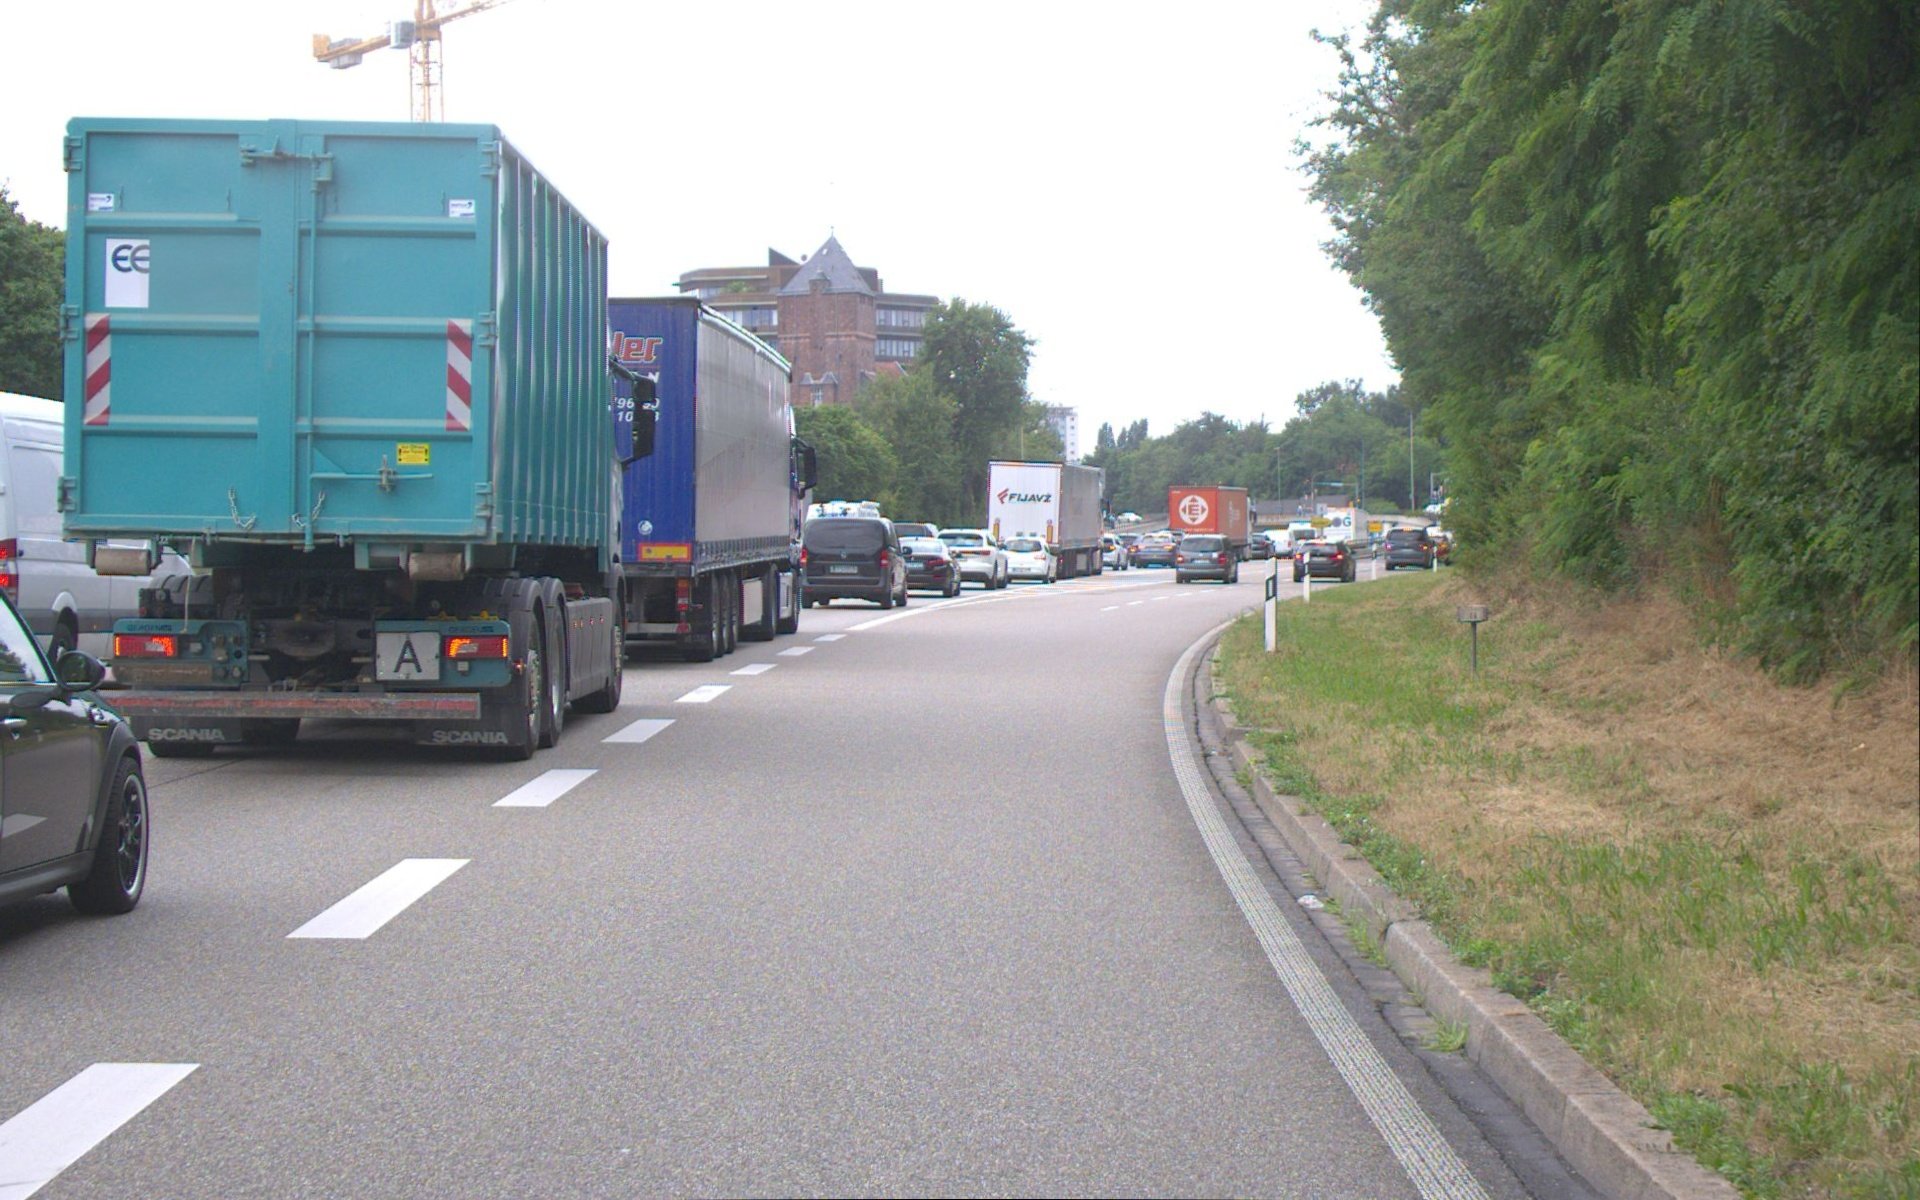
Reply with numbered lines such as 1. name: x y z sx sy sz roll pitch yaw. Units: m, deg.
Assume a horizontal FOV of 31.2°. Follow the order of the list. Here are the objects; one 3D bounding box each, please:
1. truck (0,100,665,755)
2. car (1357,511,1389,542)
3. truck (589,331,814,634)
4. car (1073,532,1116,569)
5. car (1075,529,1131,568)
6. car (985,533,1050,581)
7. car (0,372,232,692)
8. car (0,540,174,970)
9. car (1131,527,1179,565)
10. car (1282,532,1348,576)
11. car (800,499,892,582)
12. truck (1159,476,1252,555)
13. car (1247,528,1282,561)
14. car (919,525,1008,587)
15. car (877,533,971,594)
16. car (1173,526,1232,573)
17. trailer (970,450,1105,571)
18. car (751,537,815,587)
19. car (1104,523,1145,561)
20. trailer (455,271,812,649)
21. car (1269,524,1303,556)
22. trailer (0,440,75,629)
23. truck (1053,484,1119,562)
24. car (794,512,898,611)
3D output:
1. truck: -4.147 -1.121 25.687 2.929 3.783 11.331 -1 1 0
2. car: 26.941 -4.793 224.142 1.951 2.007 3.999 0 1 8
3. truck: -3.624 -1.624 49.582 2.561 4.029 6.589 1 1 1
4. car: 5.692 -2.110 145.070 1.531 1.546 3.418 0 1 7
5. car: 6.045 -2.150 144.978 1.800 1.598 4.256 1 1 9
6. car: 1.850 -1.367 108.844 1.764 1.473 4.088 -1 1 5
7. car: -8.501 -0.605 31.018 2.222 2.569 6.798 1 1 1
8. car: -4.054 0.503 12.076 1.747 1.417 3.664 0 1 0
9. car: 8.872 -2.451 156.057 1.718 1.678 3.998 1 1 9
10. car: 12.062 -1.574 116.612 1.826 1.477 3.998 0 1 12
11. car: -3.587 -1.892 109.211 1.994 2.545 5.360 0 1 8
12. truck: 13.250 -4.527 184.345 3.491 4.059 13.586 0 1 11
13. car: 18.297 -3.322 206.484 1.615 1.941 3.703 1 1 12
14. car: 0.130 -1.266 97.416 1.957 1.689 4.865 0 1 7
15. car: -0.854 -0.918 85.236 1.847 1.455 4.830 0 1 5
16. car: 7.883 -1.652 112.074 1.825 1.477 4.000 0 1 3
17. trailer: 2.874 -3.068 121.930 3.300 4.022 13.094 1 1 7
18. car: -4.970 -1.074 96.819 1.441 1.382 3.047 0 1 4
19. car: 8.912 -3.137 186.059 1.818 2.007 3.999 0 1 8
20. trailer: -3.802 -1.578 43.659 2.626 4.009 13.463 1 1 2
21. car: 20.672 -3.807 217.838 1.615 2.007 3.998 0 1 12
22. trailer: -18.453 -1.123 59.597 2.470 3.384 12.462 0 1 3
23. truck: 7.072 -4.230 191.474 2.739 4.124 10.695 1 1 7
24. car: -2.370 -0.816 71.813 1.988 1.891 4.985 -3 1 -2
